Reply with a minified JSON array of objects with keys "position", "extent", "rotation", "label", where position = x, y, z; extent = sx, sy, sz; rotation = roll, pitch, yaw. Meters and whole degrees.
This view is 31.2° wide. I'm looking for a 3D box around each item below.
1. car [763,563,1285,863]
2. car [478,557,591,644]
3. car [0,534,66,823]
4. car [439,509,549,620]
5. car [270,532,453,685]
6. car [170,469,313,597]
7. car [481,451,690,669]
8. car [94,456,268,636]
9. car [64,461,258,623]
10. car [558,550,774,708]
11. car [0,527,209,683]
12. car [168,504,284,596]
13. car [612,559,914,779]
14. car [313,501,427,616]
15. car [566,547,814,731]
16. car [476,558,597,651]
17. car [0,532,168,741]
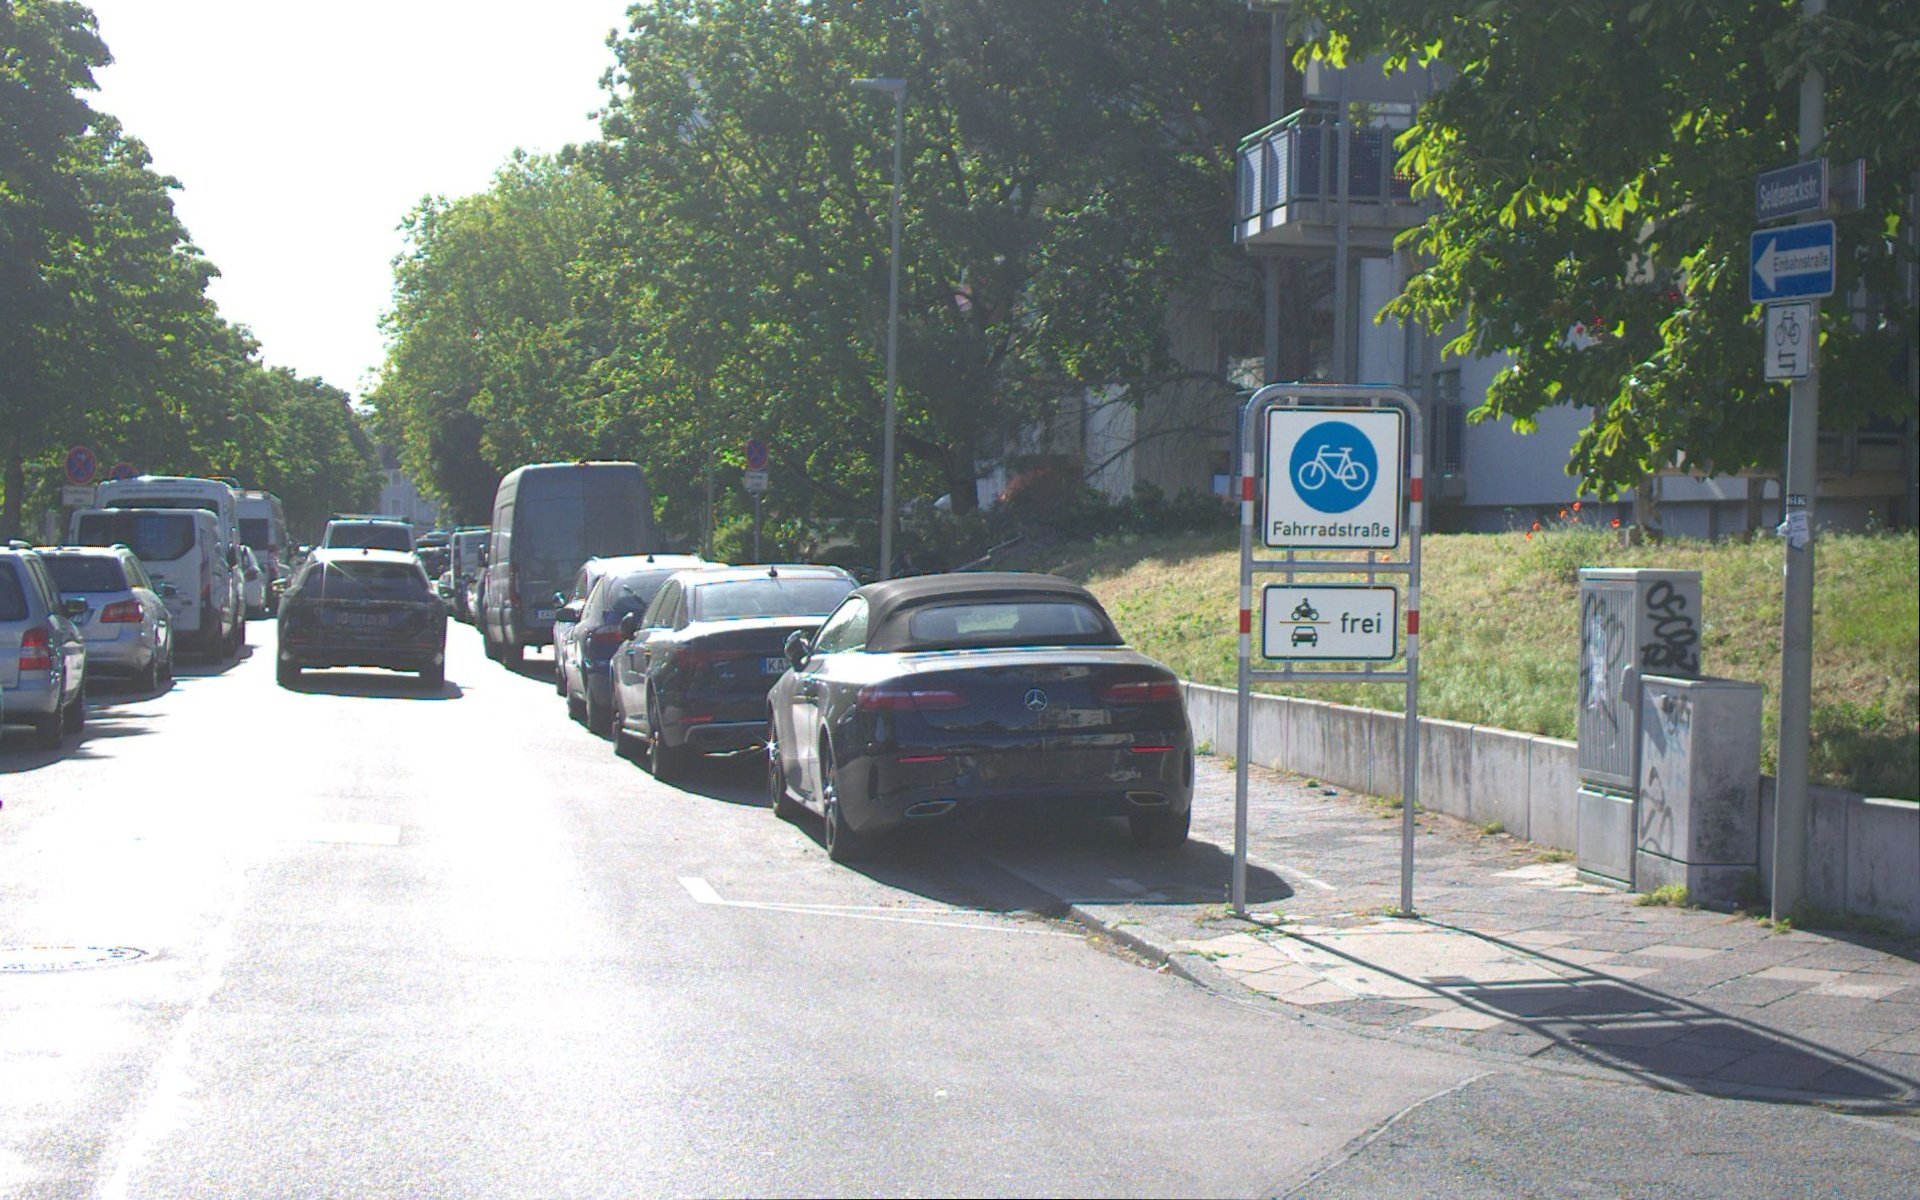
[{"position":[0.188,0.507,18.625],"extent":[2.125,1.333,4.507],"rotation":[-1,1,-8],"label":"car"},{"position":[-7.959,-0.016,64.076],"extent":[1.988,1.482,4.128],"rotation":[1,1,-8],"label":"car"},{"position":[-5.959,0.405,18.492],"extent":[1.776,1.490,3.876],"rotation":[-1,1,-8],"label":"car"},{"position":[-10.156,-0.800,74.625],"extent":[2.162,2.285,5.267],"rotation":[1,1,-10],"label":"car"},{"position":[-6.546,0.049,37.909],"extent":[1.779,1.526,4.001],"rotation":[2,1,-8],"label":"car"},{"position":[-15.764,-1.478,75.725],"extent":[2.616,2.636,6.116],"rotation":[1,1,-8],"label":"car"},{"position":[-5.047,-0.549,45.641],"extent":[2.162,2.680,5.418],"rotation":[1,1,-12],"label":"car"},{"position":[-11.419,-0.803,50.637],"extent":[2.098,2.488,4.128],"rotation":[1,1,-8],"label":"car"},{"position":[-10.244,-0.754,44.329],"extent":[2.098,1.936,4.128],"rotation":[1,1,-9],"label":"car"},{"position":[-3.113,0.258,35.716],"extent":[1.988,1.482,4.128],"rotation":[1,1,-8],"label":"car"},{"position":[-8.971,0.010,35.967],"extent":[1.833,1.495,4.128],"rotation":[1,1,-8],"label":"car"},{"position":[-14.939,-1.028,70.130],"extent":[2.009,1.779,4.128],"rotation":[1,1,-8],"label":"car"},{"position":[-1.483,0.428,24.397],"extent":[1.779,1.366,4.128],"rotation":[1,1,-8],"label":"car"},{"position":[-10.603,-0.768,61.982],"extent":[1.894,1.984,4.011],"rotation":[0,1,-8],"label":"car"},{"position":[-2.476,0.299,30.694],"extent":[1.779,1.482,4.033],"rotation":[1,1,-10],"label":"car"},{"position":[-7.377,0.053,59.647],"extent":[1.988,1.482,4.128],"rotation":[1,1,-8],"label":"car"},{"position":[-7.175,0.216,26.328],"extent":[1.779,1.456,4.128],"rotation":[1,1,-8],"label":"car"}]
